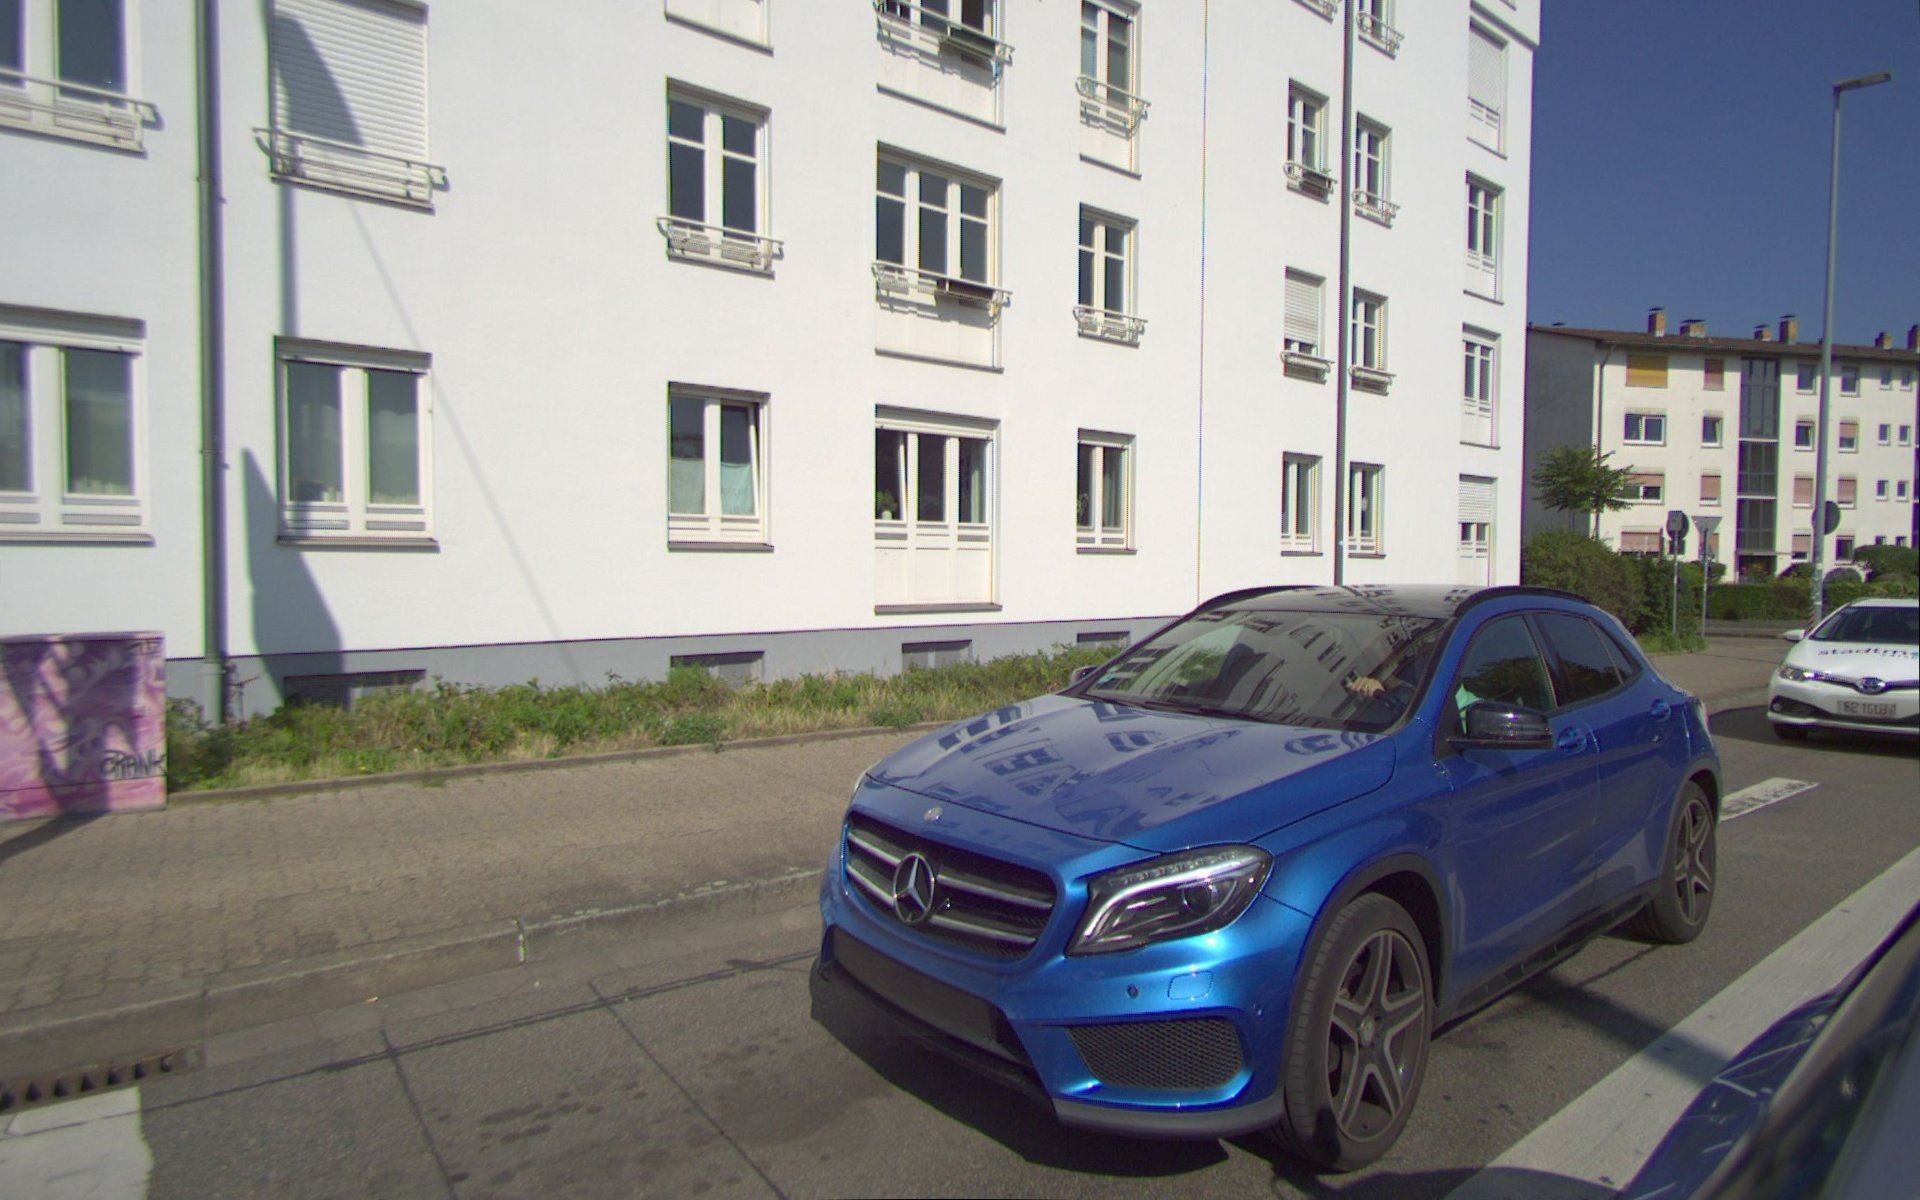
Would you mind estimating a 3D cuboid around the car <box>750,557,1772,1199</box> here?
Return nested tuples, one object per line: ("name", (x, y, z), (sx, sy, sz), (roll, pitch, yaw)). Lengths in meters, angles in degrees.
("car", (1.576, 0.650, 4.022), (4.468, 1.499, 1.675), (0, 0, -39))

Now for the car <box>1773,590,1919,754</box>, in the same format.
("car", (10.093, 0.619, 10.472), (4.405, 1.430, 1.701), (-1, 1, -38))
